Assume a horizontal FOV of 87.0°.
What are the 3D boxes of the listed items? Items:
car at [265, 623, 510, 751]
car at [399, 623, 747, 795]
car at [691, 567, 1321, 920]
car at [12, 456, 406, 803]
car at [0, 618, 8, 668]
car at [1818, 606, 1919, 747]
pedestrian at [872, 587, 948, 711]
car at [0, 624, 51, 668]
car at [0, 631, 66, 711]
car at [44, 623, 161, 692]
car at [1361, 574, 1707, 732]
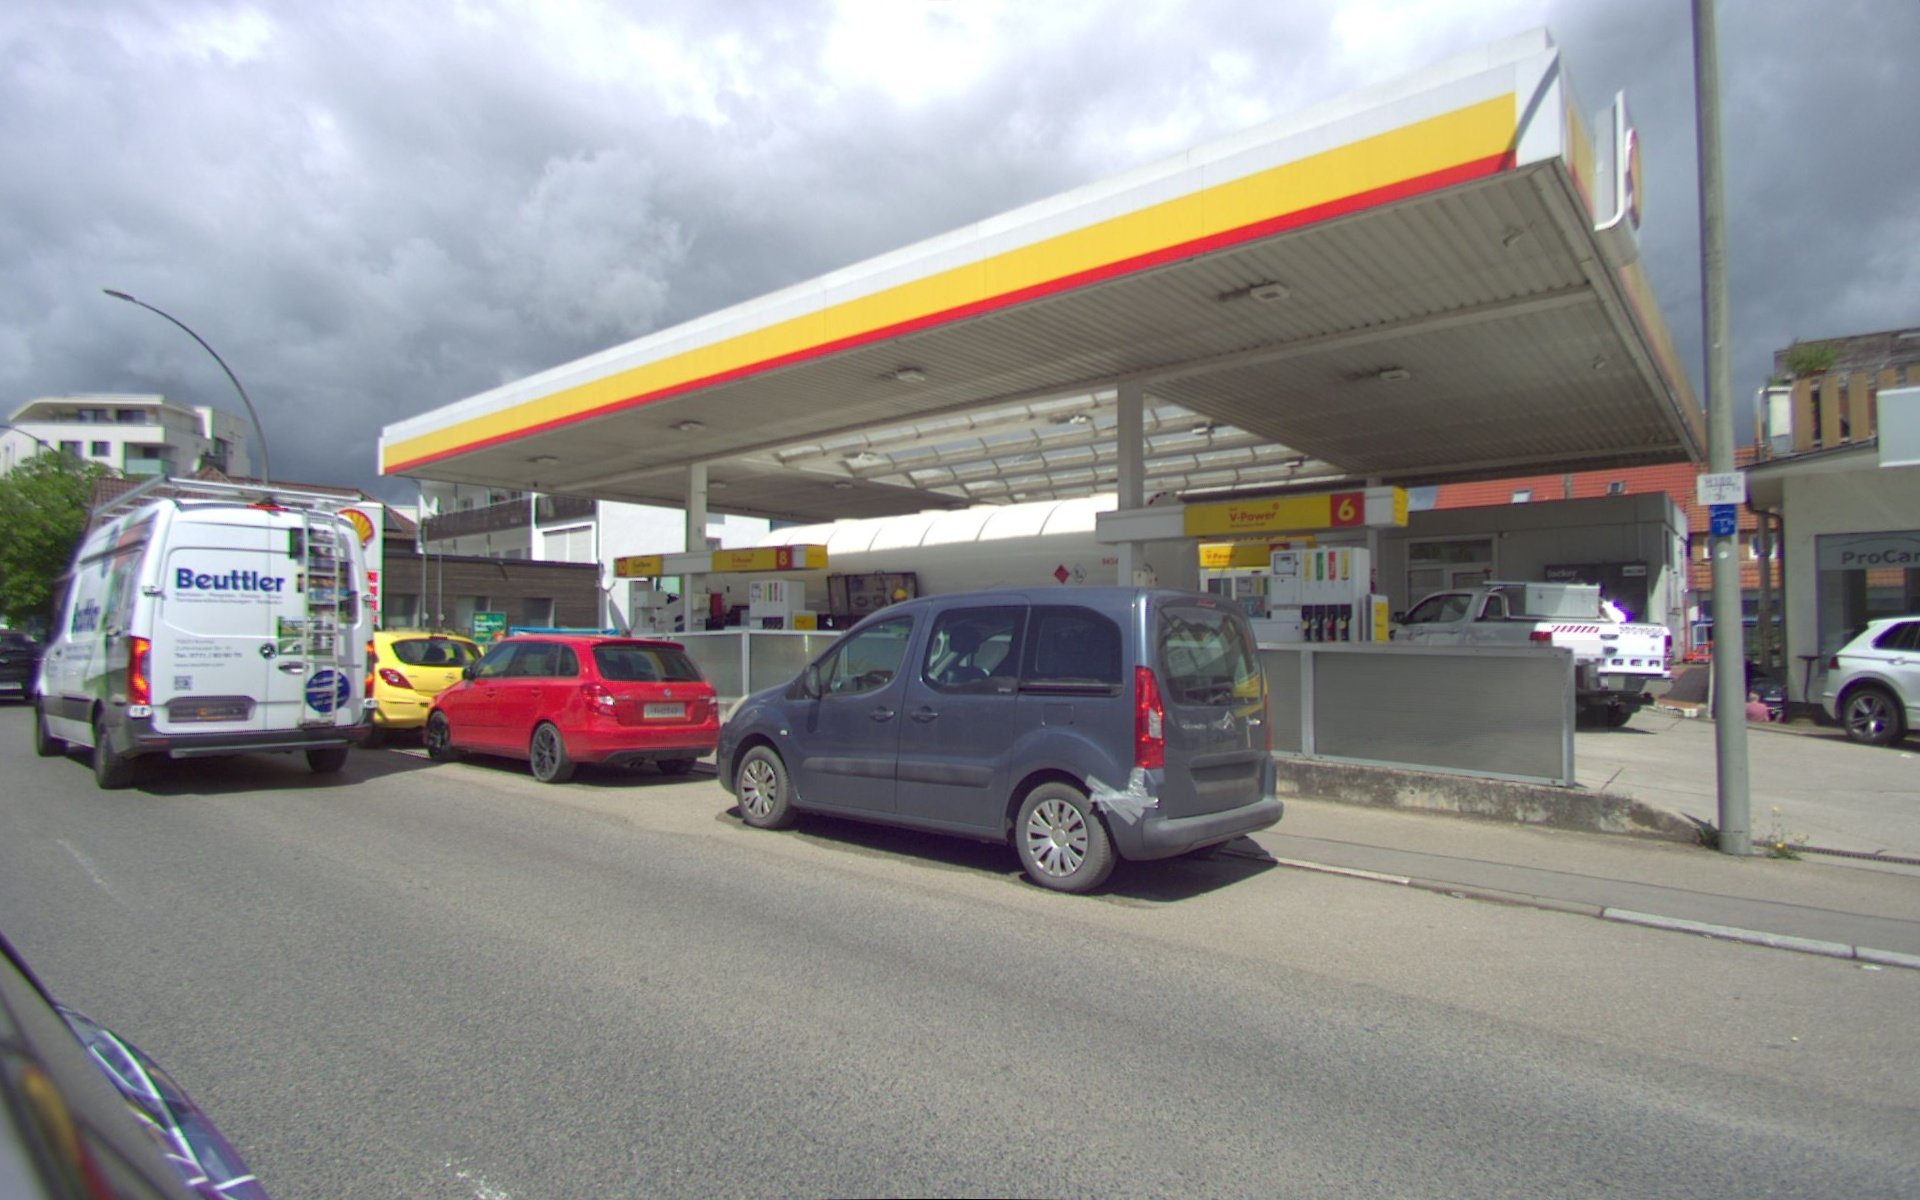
[{"bbox_3d":[-7.969,1.143,13.958,3.943,1.526,1.645,-2,-6,41],"label":"car"},{"bbox_3d":[-4.320,1.076,11.001,4.187,1.526,1.645,-1,-6,40],"label":"car"},{"bbox_3d":[0.126,0.819,7.070,4.187,1.751,1.711,-1,-6,40],"label":"car"},{"bbox_3d":[-8.316,0.333,10.901,6.160,2.787,1.972,-1,-4,40],"label":"car"},{"bbox_3d":[-44.438,2.007,45.622,4.531,2.196,1.766,-5,-3,40],"label":"car"},{"bbox_3d":[12.107,0.926,10.748,1.946,1.623,4.417,4,-1,-5],"label":"car"},{"bbox_3d":[-0.922,0.879,18.634,1.011,2.195,0.928,-1,0,39],"label":"pedestrian"},{"bbox_3d":[-36.088,1.769,38.443,4.531,1.514,1.766,-5,-3,40],"label":"car"},{"bbox_3d":[-19.338,1.354,20.051,3.978,1.485,1.828,-1,-3,40],"label":"car"},{"bbox_3d":[-23.718,1.608,27.945,4.531,1.718,1.766,-5,-3,40],"label":"car"},{"bbox_3d":[7.755,0.680,14.424,1.947,1.866,4.984,0,-1,-2],"label":"car"}]
